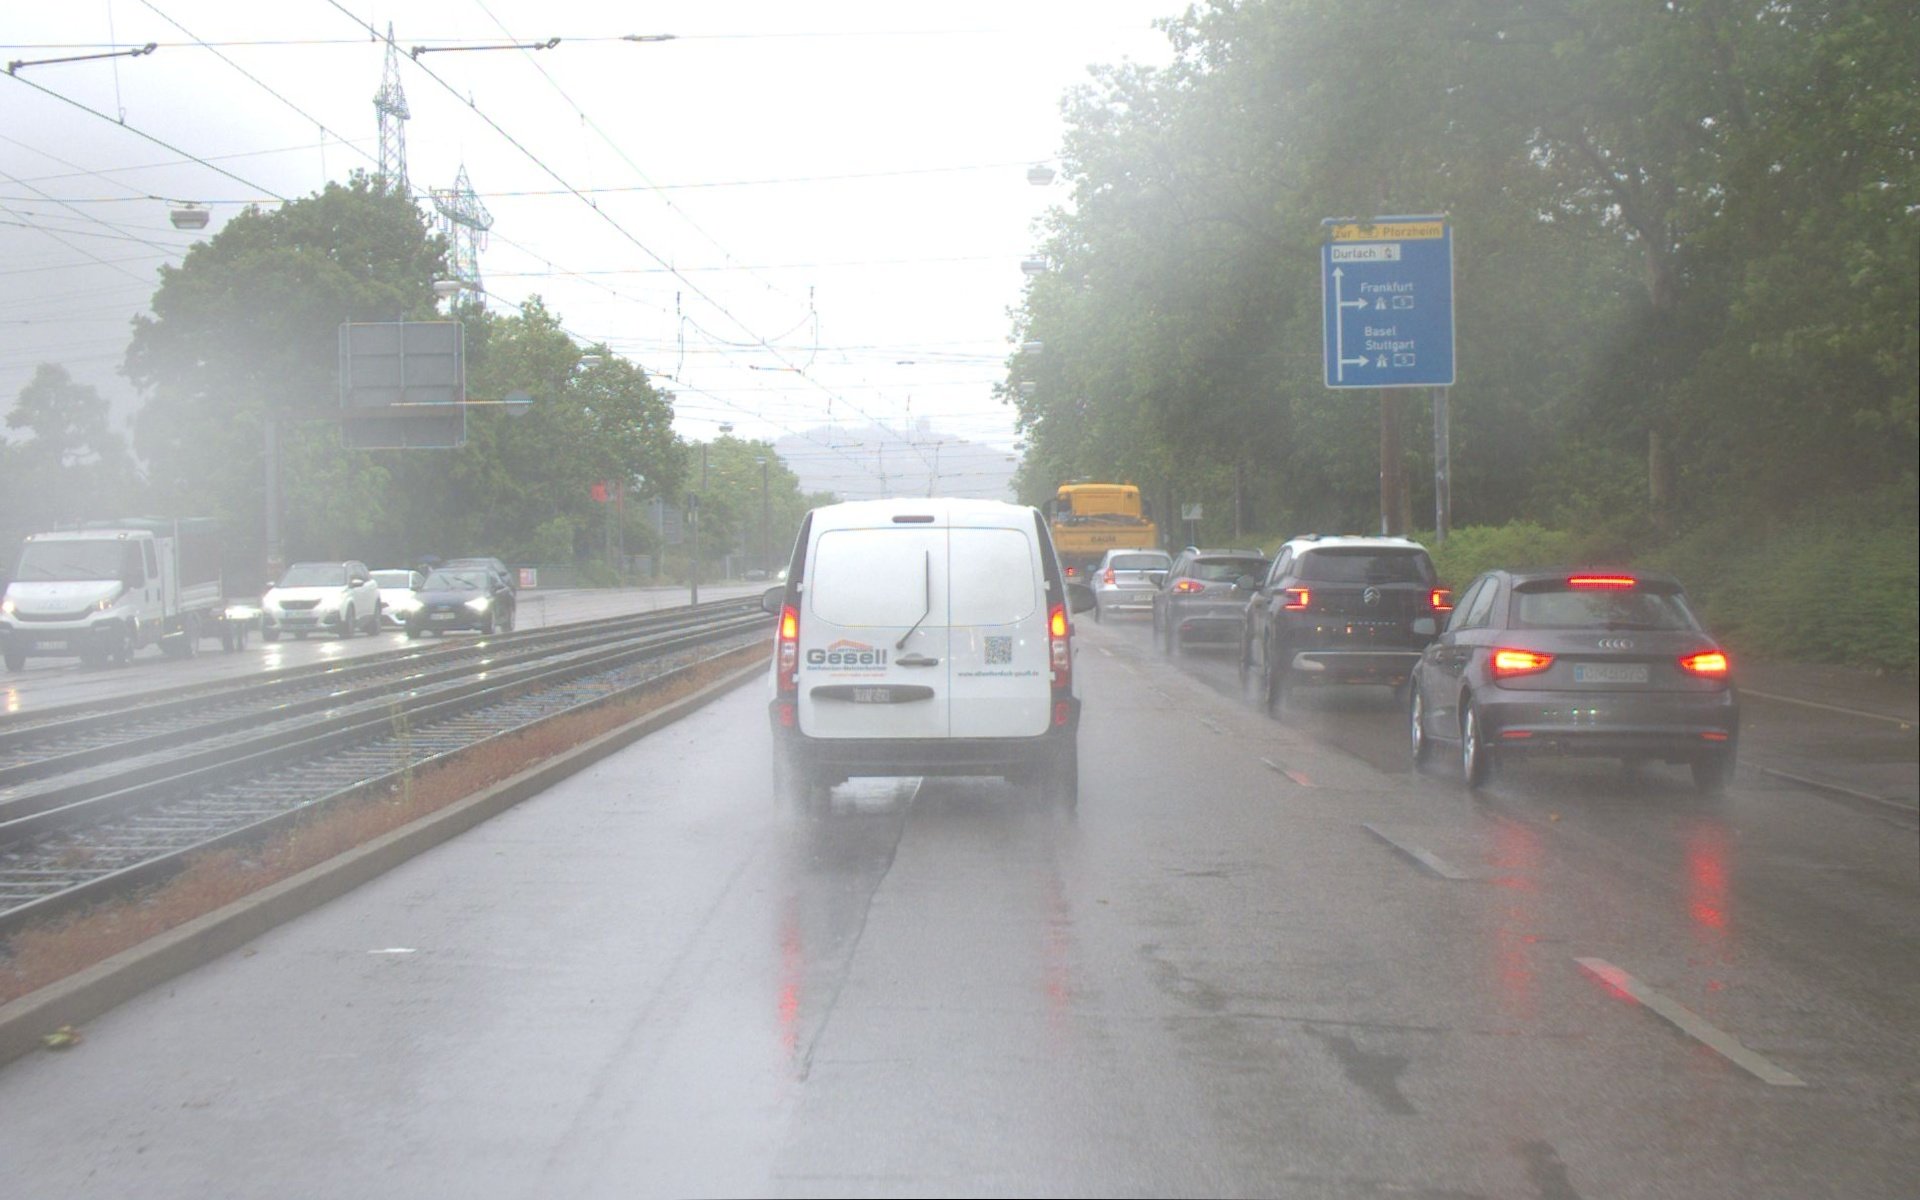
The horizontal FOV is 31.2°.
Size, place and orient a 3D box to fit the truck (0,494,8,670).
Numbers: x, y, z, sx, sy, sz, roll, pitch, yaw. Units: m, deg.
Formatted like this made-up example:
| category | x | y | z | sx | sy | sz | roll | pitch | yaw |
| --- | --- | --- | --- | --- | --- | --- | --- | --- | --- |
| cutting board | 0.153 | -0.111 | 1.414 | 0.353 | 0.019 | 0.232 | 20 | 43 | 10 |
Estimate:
| category | x | y | z | sx | sy | sz | roll | pitch | yaw |
| --- | --- | --- | --- | --- | --- | --- | --- | --- | --- |
| truck | -14.658 | -0.225 | 45.084 | 2.227 | 2.453 | 6.066 | 1 | 1 | 4 |

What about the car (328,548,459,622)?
| category | x | y | z | sx | sy | sz | roll | pitch | yaw |
| --- | --- | --- | --- | --- | --- | --- | --- | --- | --- |
| car | -13.265 | -0.386 | 80.731 | 1.994 | 1.578 | 4.766 | -2 | 1 | 3 |

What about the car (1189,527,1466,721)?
| category | x | y | z | sx | sy | sz | roll | pitch | yaw |
| --- | --- | --- | --- | --- | --- | --- | --- | --- | --- |
| car | 3.511 | 0.172 | 33.687 | 1.899 | 1.711 | 4.726 | 0 | 2 | -4 |

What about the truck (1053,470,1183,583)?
| category | x | y | z | sx | sy | sz | roll | pitch | yaw |
| --- | --- | --- | --- | --- | --- | --- | --- | --- | --- |
| truck | 3.974 | -1.870 | 87.748 | 3.113 | 2.763 | 6.329 | 0 | 1 | 1 |

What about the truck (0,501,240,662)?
| category | x | y | z | sx | sy | sz | roll | pitch | yaw |
| --- | --- | --- | --- | --- | --- | --- | --- | --- | --- |
| truck | -14.124 | -0.357 | 56.703 | 2.435 | 2.449 | 7.218 | 1 | 1 | 4 |

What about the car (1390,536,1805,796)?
| category | x | y | z | sx | sy | sz | roll | pitch | yaw |
| --- | --- | --- | --- | --- | --- | --- | --- | --- | --- |
| car | 4.115 | 0.363 | 22.836 | 1.967 | 1.523 | 3.991 | 0 | 2 | -1 |

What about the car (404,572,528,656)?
| category | x | y | z | sx | sy | sz | roll | pitch | yaw |
| --- | --- | --- | --- | --- | --- | --- | --- | --- | --- |
| car | -10.284 | 0.266 | 71.851 | 1.818 | 1.617 | 4.536 | -1 | 1 | 1 |

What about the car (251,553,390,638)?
| category | x | y | z | sx | sy | sz | roll | pitch | yaw |
| --- | --- | --- | --- | --- | --- | --- | --- | --- | --- |
| car | -13.463 | -0.125 | 72.627 | 1.771 | 1.677 | 4.689 | 1 | 1 | 3 |

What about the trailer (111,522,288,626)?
| category | x | y | z | sx | sy | sz | roll | pitch | yaw |
| --- | --- | --- | --- | --- | --- | --- | --- | --- | --- |
| trailer | -13.714 | -0.487 | 62.185 | 2.119 | 1.786 | 3.836 | 1 | 1 | 4 |

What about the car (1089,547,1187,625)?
| category | x | y | z | sx | sy | sz | roll | pitch | yaw |
| --- | --- | --- | --- | --- | --- | --- | --- | --- | --- |
| car | 3.468 | -0.298 | 67.487 | 1.818 | 1.409 | 3.778 | 0 | 2 | 2 |

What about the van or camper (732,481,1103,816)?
| category | x | y | z | sx | sy | sz | roll | pitch | yaw |
| --- | --- | --- | --- | --- | --- | --- | --- | --- | --- |
| van or camper | -0.284 | 0.196 | 20.621 | 1.993 | 1.778 | 4.001 | 1 | 2 | -2 |

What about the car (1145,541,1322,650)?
| category | x | y | z | sx | sy | sz | roll | pitch | yaw |
| --- | --- | --- | --- | --- | --- | --- | --- | --- | --- |
| car | 3.785 | -0.089 | 48.172 | 1.818 | 1.409 | 3.779 | 0 | 2 | -6 |
